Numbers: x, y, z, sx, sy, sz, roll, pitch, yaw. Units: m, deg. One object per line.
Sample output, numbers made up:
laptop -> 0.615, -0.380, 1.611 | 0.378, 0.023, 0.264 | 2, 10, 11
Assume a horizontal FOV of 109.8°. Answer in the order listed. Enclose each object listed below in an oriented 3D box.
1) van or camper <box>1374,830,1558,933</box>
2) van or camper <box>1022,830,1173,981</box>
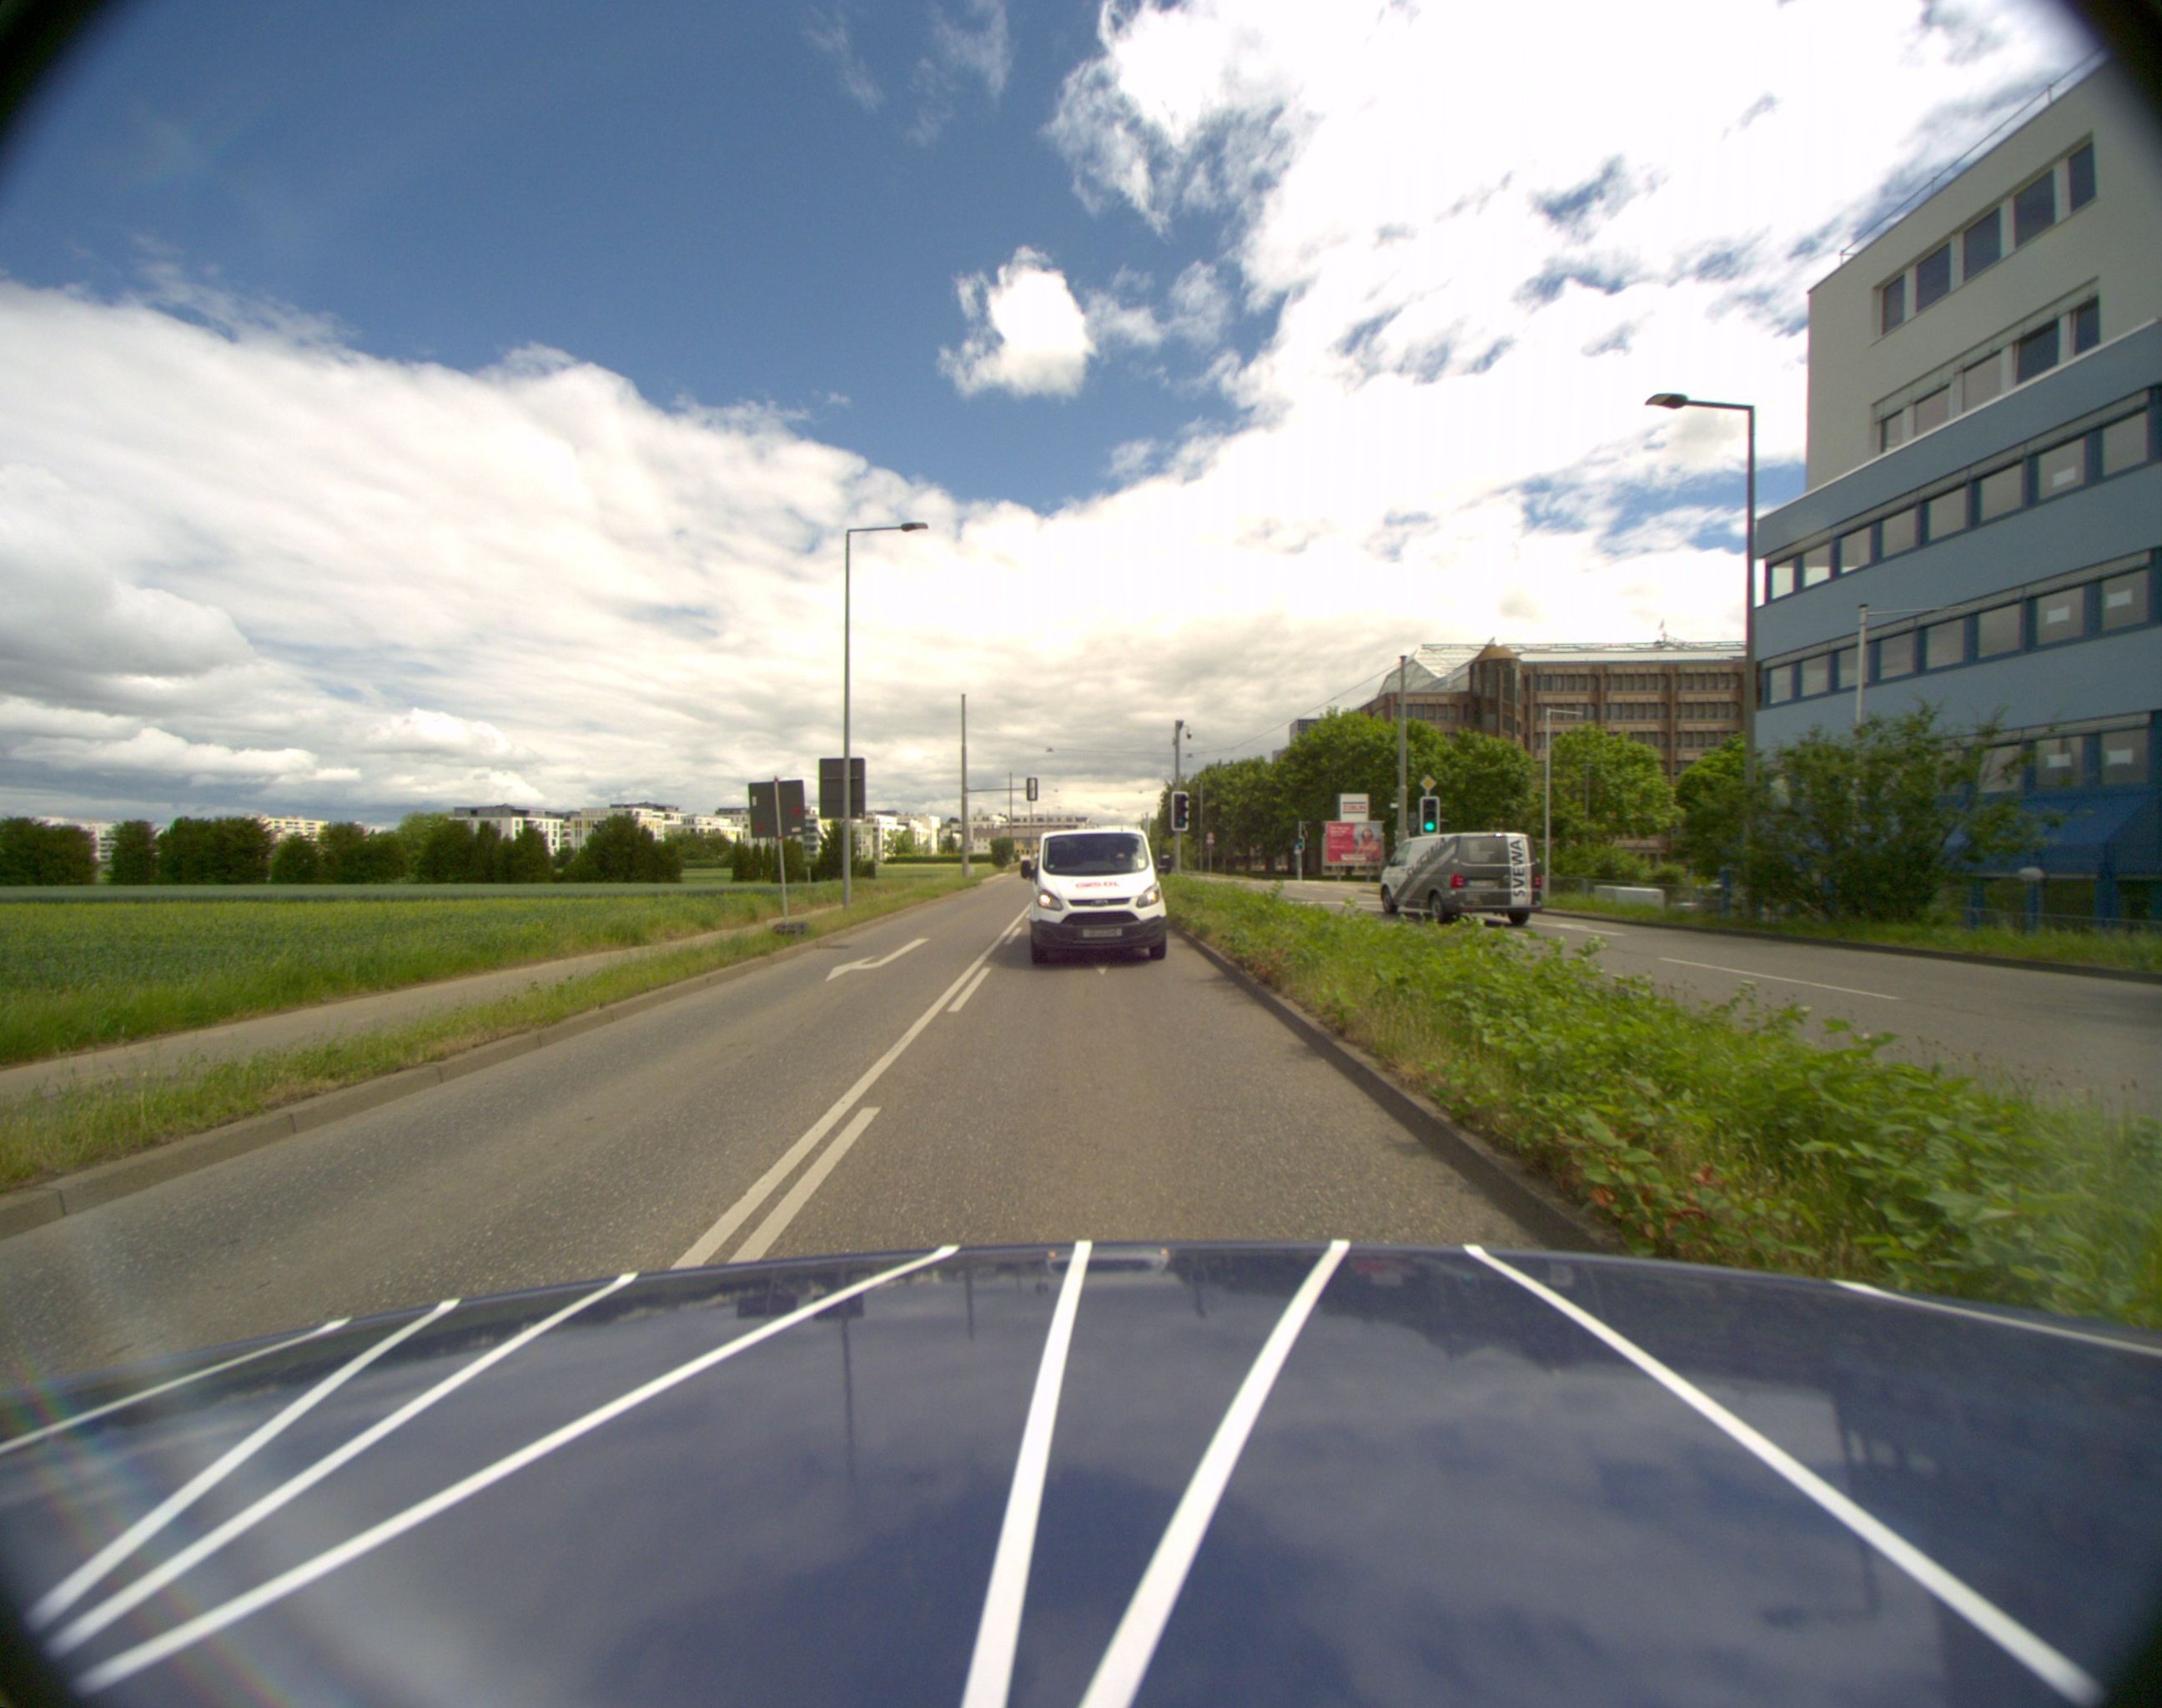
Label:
van or camper -> 8.514, 0.528, 17.373 | 1.998, 2.002, 4.817 | -1, 0, 3
van or camper -> 0.141, 0.679, 12.979 | 1.999, 2.002, 5.798 | 0, 0, -2
